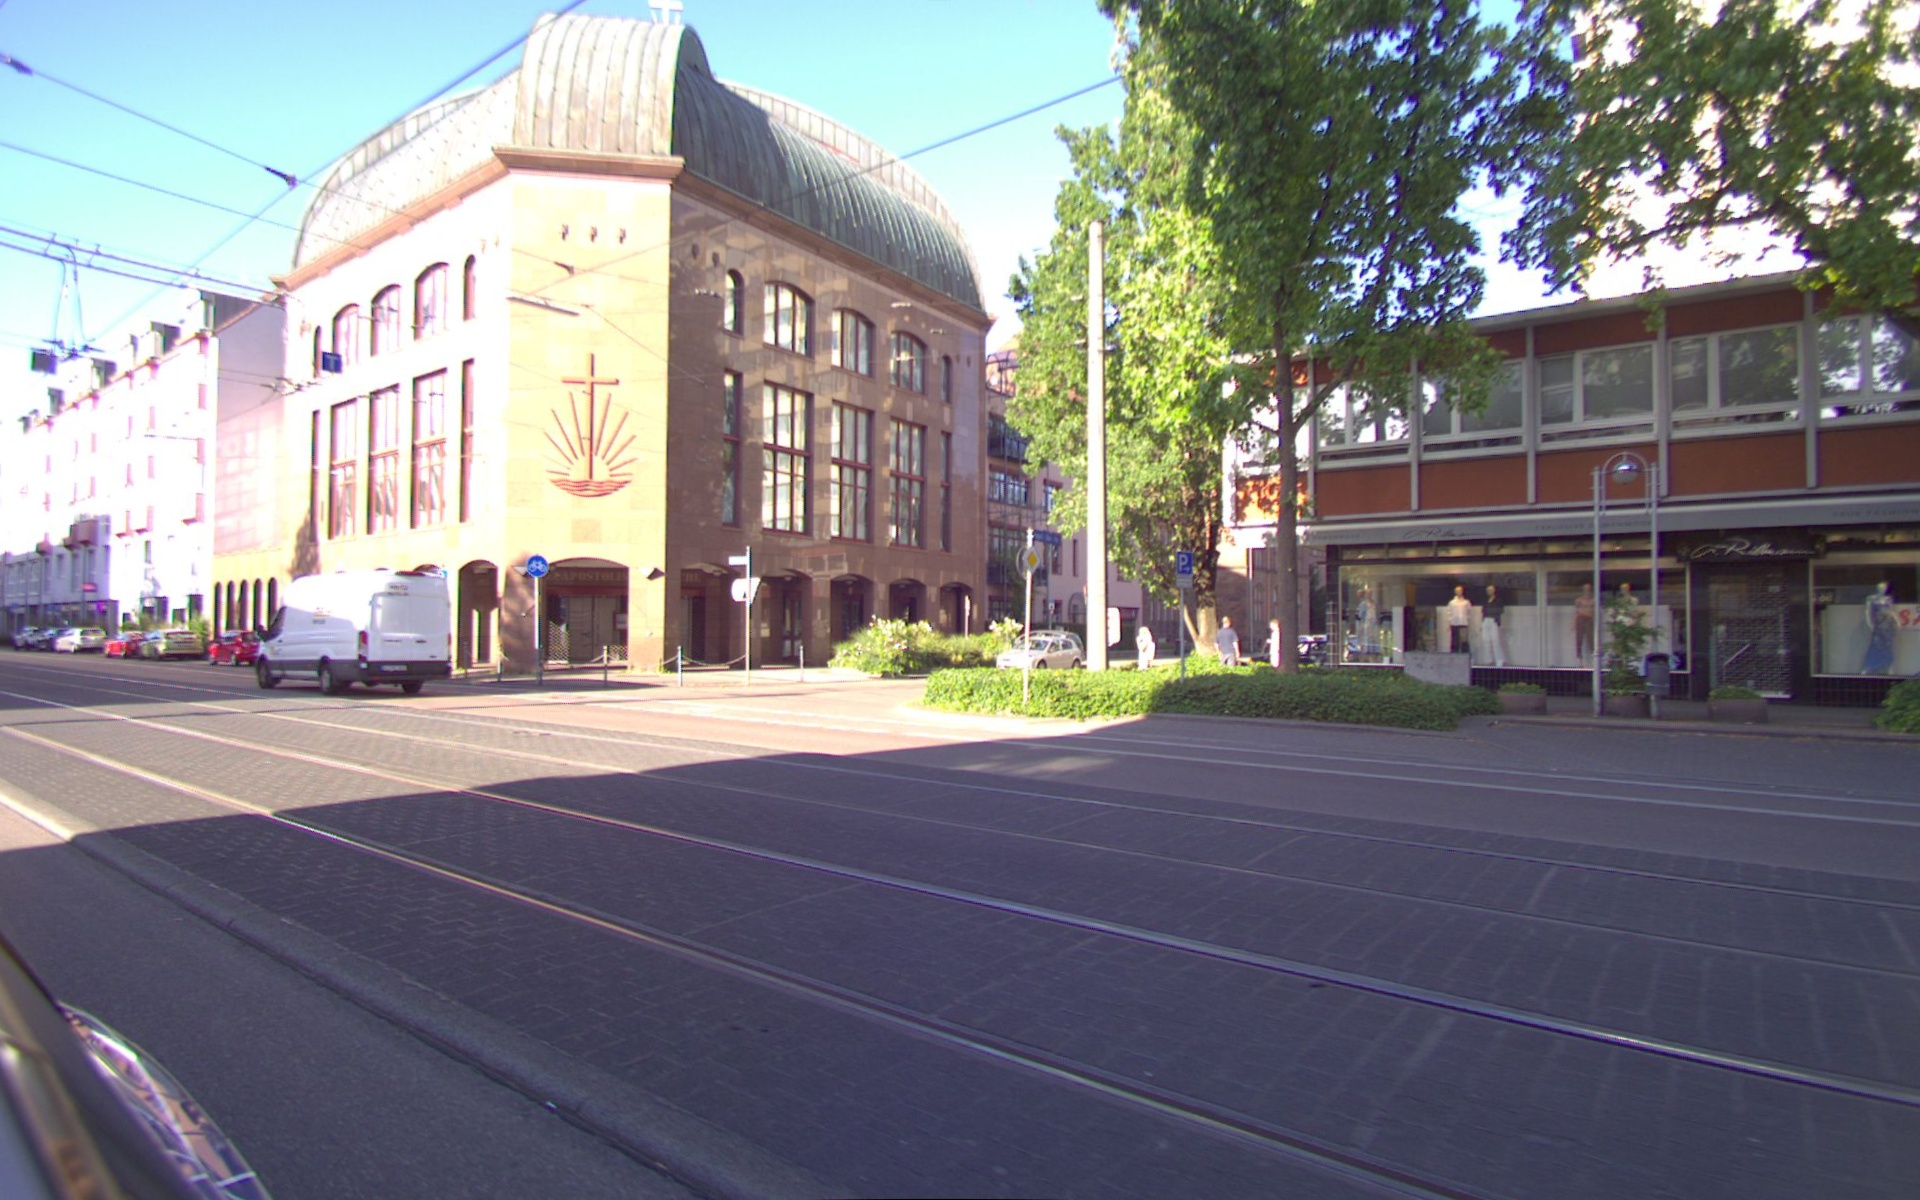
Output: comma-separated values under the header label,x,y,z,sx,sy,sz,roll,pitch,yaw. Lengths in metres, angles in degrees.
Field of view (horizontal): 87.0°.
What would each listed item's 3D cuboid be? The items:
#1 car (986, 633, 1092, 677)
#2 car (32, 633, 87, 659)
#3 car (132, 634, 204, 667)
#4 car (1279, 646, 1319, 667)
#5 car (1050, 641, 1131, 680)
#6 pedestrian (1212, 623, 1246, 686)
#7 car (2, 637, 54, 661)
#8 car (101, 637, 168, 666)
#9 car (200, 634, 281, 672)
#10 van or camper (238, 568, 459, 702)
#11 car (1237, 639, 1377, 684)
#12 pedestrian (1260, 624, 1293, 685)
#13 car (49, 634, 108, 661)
label,x,y,z,sx,sy,sz,roll,pitch,yaw
car,3.001,2.046,37.780,1.997,1.542,4.221,-1,-3,37
car,-54.014,2.738,60.679,3.848,1.465,1.833,-2,-2,38
car,-37.350,2.357,47.693,3.848,1.465,1.833,-2,-2,38
car,26.159,4.355,77.986,1.994,1.542,4.179,-1,-3,32
car,5.564,2.500,42.638,1.992,1.542,4.232,-1,-3,29
pedestrian,6.918,1.398,26.008,0.440,1.604,0.722,3,-4,-43
car,-59.935,3.097,65.060,3.848,1.465,1.833,-2,-2,38
car,-41.305,2.536,50.621,3.848,1.364,1.833,-2,-2,38
car,-29.726,2.151,41.787,3.465,1.465,1.733,-1,-2,37
van or camper,-14.550,0.843,23.858,7.010,2.760,2.017,-2,-4,38
car,13.363,2.333,39.144,4.722,1.541,1.973,-2,0,40
pedestrian,8.414,1.452,26.923,0.439,1.604,0.724,2,-3,-27
car,-50.232,2.661,57.641,3.848,1.465,1.833,-2,-2,38
